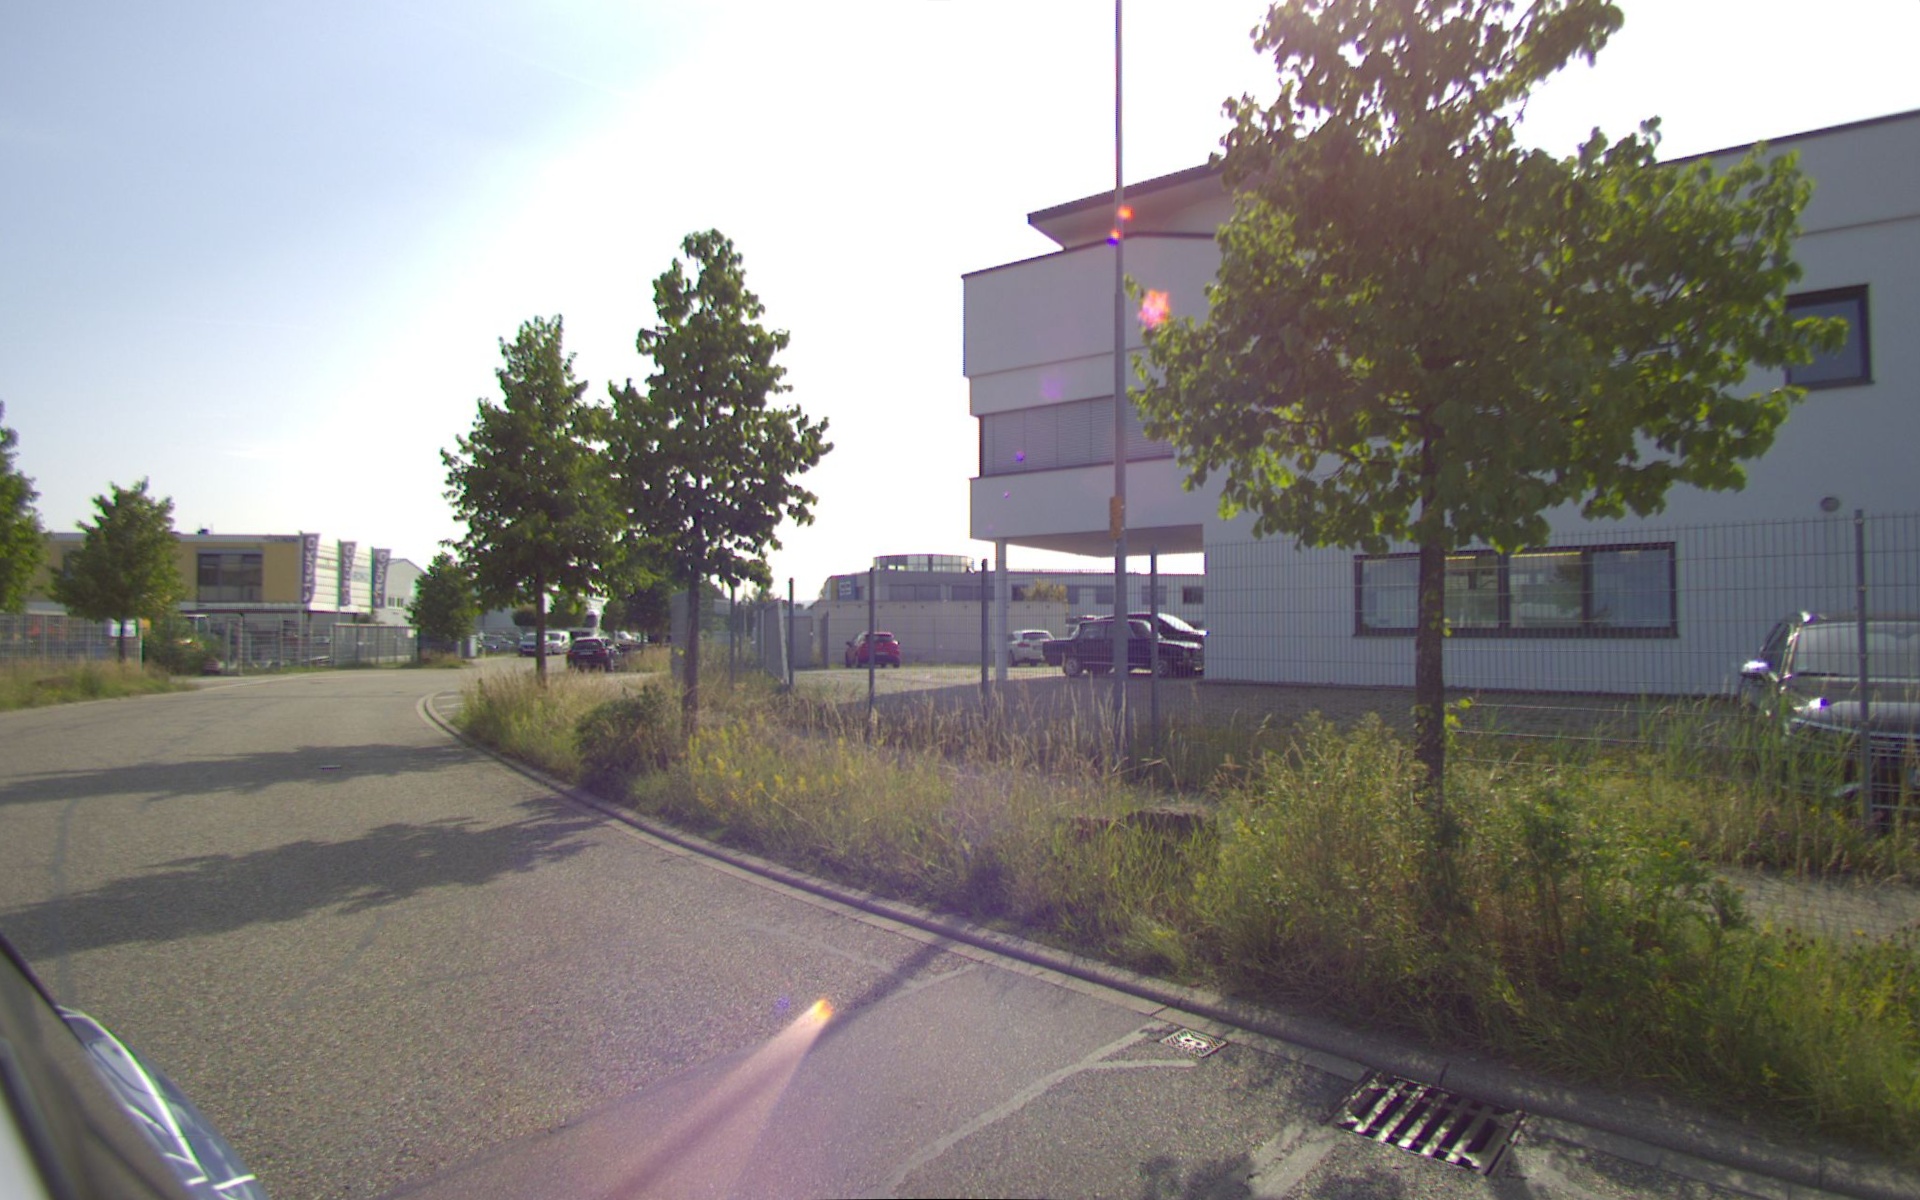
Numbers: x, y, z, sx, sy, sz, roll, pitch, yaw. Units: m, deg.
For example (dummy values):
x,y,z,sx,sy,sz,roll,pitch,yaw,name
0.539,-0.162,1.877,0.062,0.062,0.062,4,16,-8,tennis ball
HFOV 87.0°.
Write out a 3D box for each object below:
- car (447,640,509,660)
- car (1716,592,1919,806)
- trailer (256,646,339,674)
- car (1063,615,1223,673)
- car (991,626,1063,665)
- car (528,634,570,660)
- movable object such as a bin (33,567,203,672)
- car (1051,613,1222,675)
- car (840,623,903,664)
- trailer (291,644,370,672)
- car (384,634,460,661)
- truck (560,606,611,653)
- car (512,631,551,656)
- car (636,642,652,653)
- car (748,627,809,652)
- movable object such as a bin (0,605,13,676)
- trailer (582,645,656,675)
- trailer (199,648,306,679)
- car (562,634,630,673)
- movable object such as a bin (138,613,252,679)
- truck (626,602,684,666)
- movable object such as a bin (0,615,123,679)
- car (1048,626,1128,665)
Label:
x,y,z,sx,sy,sz,roll,pitch,yaw,name
-36.362,3.746,76.376,3.933,1.381,1.795,-1,-2,-15,car
7.483,0.700,8.384,1.591,1.465,3.466,-2,-2,32,car
-32.089,2.898,49.185,1.918,1.253,4.304,0,-2,-12,trailer
5.038,1.219,28.057,3.991,1.499,1.847,-2,-3,35,car
2.661,1.880,41.263,1.808,1.506,4.487,0,-3,-11,car
-31.250,3.559,77.088,1.968,1.803,4.609,0,-1,-9,car
-41.963,1.071,50.859,3.272,4.843,7.691,0,-3,-12,movable object such as a bin
4.362,1.095,25.231,3.912,1.426,1.544,-2,-3,35,car
-3.619,1.779,40.706,1.746,1.537,4.316,0,-4,-16,car
-33.305,3.039,53.675,1.968,1.320,4.572,0,-1,-9,trailer
-35.703,3.132,67.302,4.166,1.751,1.905,0,-2,-17,car
-34.576,2.846,93.719,2.709,4.046,9.707,2,-3,-11,truck
-30.750,3.099,72.699,1.801,1.733,4.259,0,-1,-12,car
-42.300,6.343,135.435,1.642,1.515,3.549,2,-3,-11,car
-14.108,3.087,78.806,4.643,1.850,2.107,0,-2,-10,car
-42.097,1.698,41.934,1.967,3.055,4.501,0,-2,-10,movable object such as a bin
-16.274,2.833,48.710,2.103,1.242,7.169,-2,-2,-8,trailer
-30.911,2.762,44.419,2.098,1.253,4.807,0,-2,-12,trailer
-15.306,2.254,42.755,1.968,1.478,4.441,-2,-3,-10,car
-33.875,2.017,45.015,1.862,2.773,5.170,0,-2,-10,movable object such as a bin
-20.434,2.258,68.343,2.424,3.911,9.821,-2,-1,-9,truck
-38.560,1.951,42.535,2.884,2.510,5.349,0,-2,-10,movable object such as a bin
5.178,1.893,41.626,1.909,1.506,4.487,0,-3,-11,car
